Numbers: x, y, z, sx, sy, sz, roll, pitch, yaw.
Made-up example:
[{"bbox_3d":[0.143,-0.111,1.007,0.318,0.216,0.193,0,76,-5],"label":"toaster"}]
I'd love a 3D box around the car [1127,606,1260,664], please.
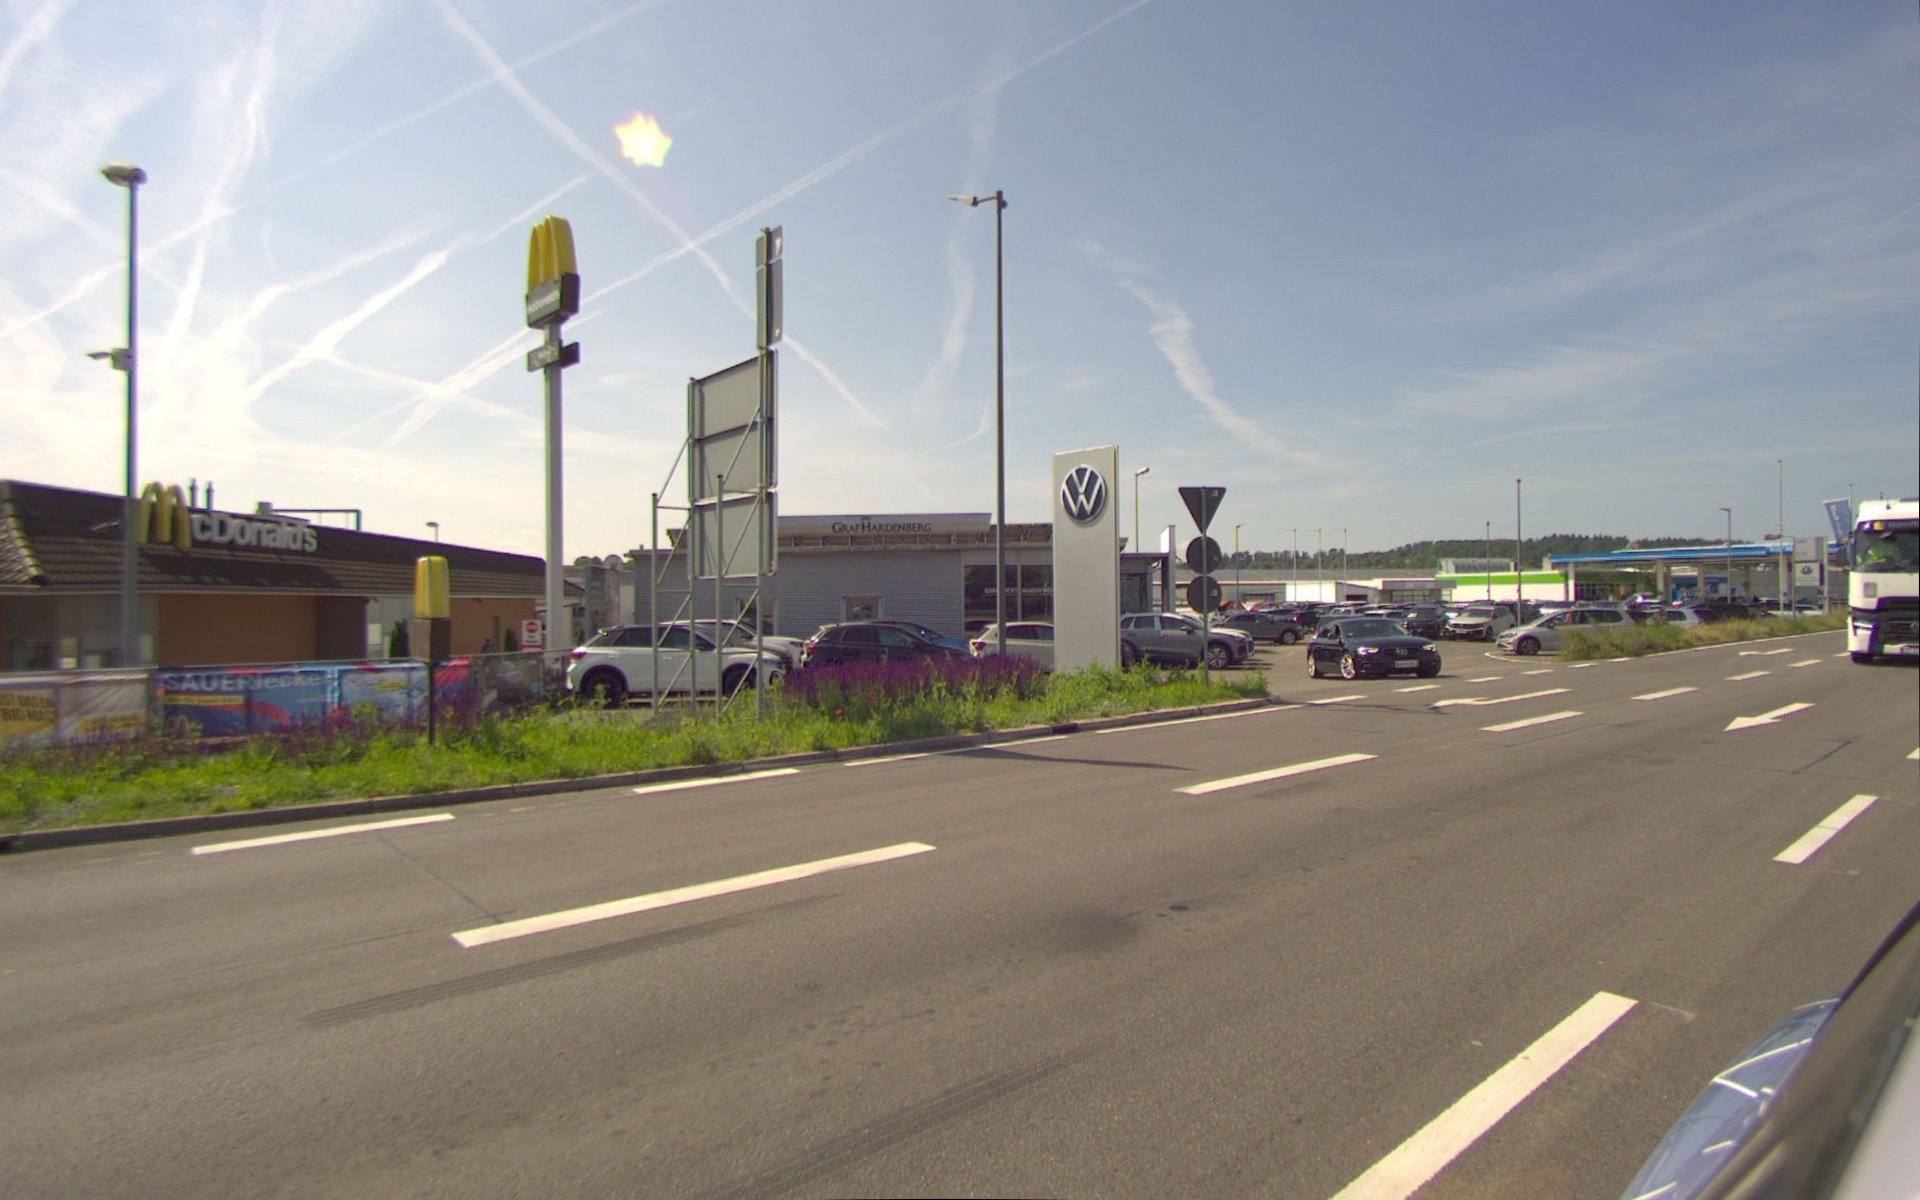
[{"bbox_3d":[7.296,1.061,31.764,3.939,1.692,1.913,0,0,13],"label":"car"}]

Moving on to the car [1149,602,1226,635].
[{"bbox_3d":[14.300,1.157,63.578,4.484,1.973,1.763,0,0,22],"label":"car"}]

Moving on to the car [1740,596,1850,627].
[{"bbox_3d":[47.354,0.618,57.532,4.490,1.675,1.761,1,0,25],"label":"car"}]

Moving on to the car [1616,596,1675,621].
[{"bbox_3d":[44.615,0.532,65.850,4.452,1.600,1.776,0,1,-35],"label":"car"}]

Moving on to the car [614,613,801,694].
[{"bbox_3d":[-5.561,1.155,22.655,3.831,1.692,1.778,0,0,-5],"label":"car"}]

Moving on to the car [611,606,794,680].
[{"bbox_3d":[-6.195,1.021,24.709,4.087,1.692,1.778,0,0,-5],"label":"car"}]

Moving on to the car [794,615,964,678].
[{"bbox_3d":[-2.026,1.143,25.383,4.072,1.468,1.798,0,0,-5],"label":"car"}]

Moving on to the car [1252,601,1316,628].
[{"bbox_3d":[21.447,0.948,66.921,4.453,1.675,1.776,0,1,-36],"label":"car"}]

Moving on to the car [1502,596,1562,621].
[{"bbox_3d":[37.874,0.529,66.969,4.452,1.545,1.691,0,1,-35],"label":"car"}]

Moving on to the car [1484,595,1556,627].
[{"bbox_3d":[30.398,0.576,54.902,4.454,1.675,1.775,0,1,-38],"label":"car"}]

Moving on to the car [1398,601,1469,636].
[{"bbox_3d":[24.690,0.929,52.711,4.464,1.675,1.964,0,1,-45],"label":"car"}]

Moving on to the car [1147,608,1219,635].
[{"bbox_3d":[13.436,1.274,60.943,4.028,1.510,1.764,0,0,22],"label":"car"}]

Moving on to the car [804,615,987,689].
[{"bbox_3d":[-1.488,1.156,23.103,4.008,1.551,1.778,0,0,-5],"label":"car"}]

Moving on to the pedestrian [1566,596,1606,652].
[{"bbox_3d":[21.769,0.819,35.201,0.974,1.936,0.740,0,0,16],"label":"pedestrian"}]

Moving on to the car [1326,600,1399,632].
[{"bbox_3d":[23.440,0.905,58.893,4.452,1.751,1.823,0,1,-35],"label":"car"}]

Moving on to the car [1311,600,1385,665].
[{"bbox_3d":[11.093,0.883,28.803,1.756,1.675,4.044,-2,0,24],"label":"car"}]

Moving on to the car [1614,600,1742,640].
[{"bbox_3d":[29.626,0.800,41.879,3.941,1.572,1.768,0,0,14],"label":"car"}]

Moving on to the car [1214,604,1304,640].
[{"bbox_3d":[14.674,1.086,49.899,4.009,1.675,1.772,0,0,9],"label":"car"}]

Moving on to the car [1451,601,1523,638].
[{"bbox_3d":[26.521,0.939,50.875,4.633,1.675,1.904,0,1,-45],"label":"car"}]

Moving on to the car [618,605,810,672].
[{"bbox_3d":[-6.431,0.994,26.892,4.722,1.692,1.914,0,0,-5],"label":"car"}]

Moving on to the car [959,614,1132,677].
[{"bbox_3d":[2.135,1.132,25.991,4.179,1.510,1.751,0,0,-5],"label":"car"}]

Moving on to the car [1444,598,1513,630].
[{"bbox_3d":[29.140,0.762,56.826,4.352,1.675,1.775,0,1,-38],"label":"car"}]

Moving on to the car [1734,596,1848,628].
[{"bbox_3d":[45.433,0.635,55.451,4.487,1.675,1.762,1,0,24],"label":"car"}]

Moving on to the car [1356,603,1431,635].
[{"bbox_3d":[24.069,1.022,56.104,4.452,1.675,1.776,0,1,-36],"label":"car"}]

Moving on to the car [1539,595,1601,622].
[{"bbox_3d":[39.030,0.496,64.742,4.452,1.675,1.776,0,1,-35],"label":"car"}]

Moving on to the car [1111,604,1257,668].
[{"bbox_3d":[6.544,1.005,29.492,3.974,1.692,1.765,0,0,20],"label":"car"}]

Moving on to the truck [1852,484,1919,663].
[{"bbox_3d":[23.974,-0.608,24.640,5.936,4.037,2.645,0,0,-41],"label":"truck"}]

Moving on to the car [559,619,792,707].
[{"bbox_3d":[-5.489,1.201,19.974,4.149,1.596,1.863,0,0,-5],"label":"car"}]

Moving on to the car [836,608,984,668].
[{"bbox_3d":[-1.383,1.007,27.582,3.881,1.537,1.778,0,0,-5],"label":"car"}]

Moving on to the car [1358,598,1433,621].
[{"bbox_3d":[28.234,0.589,65.610,4.390,1.449,1.827,0,0,-19],"label":"car"}]

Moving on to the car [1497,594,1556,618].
[{"bbox_3d":[40.509,0.412,72.316,4.449,1.675,1.777,0,1,-32],"label":"car"}]

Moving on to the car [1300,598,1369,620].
[{"bbox_3d":[26.585,0.633,71.879,4.442,1.493,1.827,0,0,-19],"label":"car"}]

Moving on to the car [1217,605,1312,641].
[{"bbox_3d":[14.169,1.073,47.231,4.008,1.629,1.690,0,-1,8],"label":"car"}]

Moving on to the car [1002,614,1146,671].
[{"bbox_3d":[3.131,1.158,28.230,3.719,1.495,1.752,0,0,-5],"label":"car"}]

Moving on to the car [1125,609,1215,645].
[{"bbox_3d":[10.299,1.294,49.915,4.095,1.675,1.774,0,0,4],"label":"car"}]

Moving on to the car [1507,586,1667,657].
[{"bbox_3d":[20.989,0.669,34.082,4.295,2.240,1.752,0,0,20],"label":"car"}]

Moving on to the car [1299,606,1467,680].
[{"bbox_3d":[9.289,0.969,22.707,1.931,1.350,4.808,-4,-3,4],"label":"car"}]

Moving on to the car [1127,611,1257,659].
[{"bbox_3d":[7.768,1.161,34.243,4.142,1.476,1.890,0,0,9],"label":"car"}]

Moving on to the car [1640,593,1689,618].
[{"bbox_3d":[51.986,0.391,74.658,4.179,1.734,1.714,0,1,-35],"label":"car"}]

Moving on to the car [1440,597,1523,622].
[{"bbox_3d":[33.794,0.578,65.714,1.910,1.477,4.543,0,1,-29],"label":"car"}]

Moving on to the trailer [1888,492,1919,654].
[{"bbox_3d":[30.026,-0.729,29.882,11.094,4.281,2.611,0,0,-41],"label":"trailer"}]

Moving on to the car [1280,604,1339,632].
[{"bbox_3d":[22.306,1.109,64.533,4.464,1.675,1.771,0,1,-45],"label":"car"}]

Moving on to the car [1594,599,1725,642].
[{"bbox_3d":[27.516,0.762,39.951,3.953,1.578,1.700,0,0,22],"label":"car"}]
